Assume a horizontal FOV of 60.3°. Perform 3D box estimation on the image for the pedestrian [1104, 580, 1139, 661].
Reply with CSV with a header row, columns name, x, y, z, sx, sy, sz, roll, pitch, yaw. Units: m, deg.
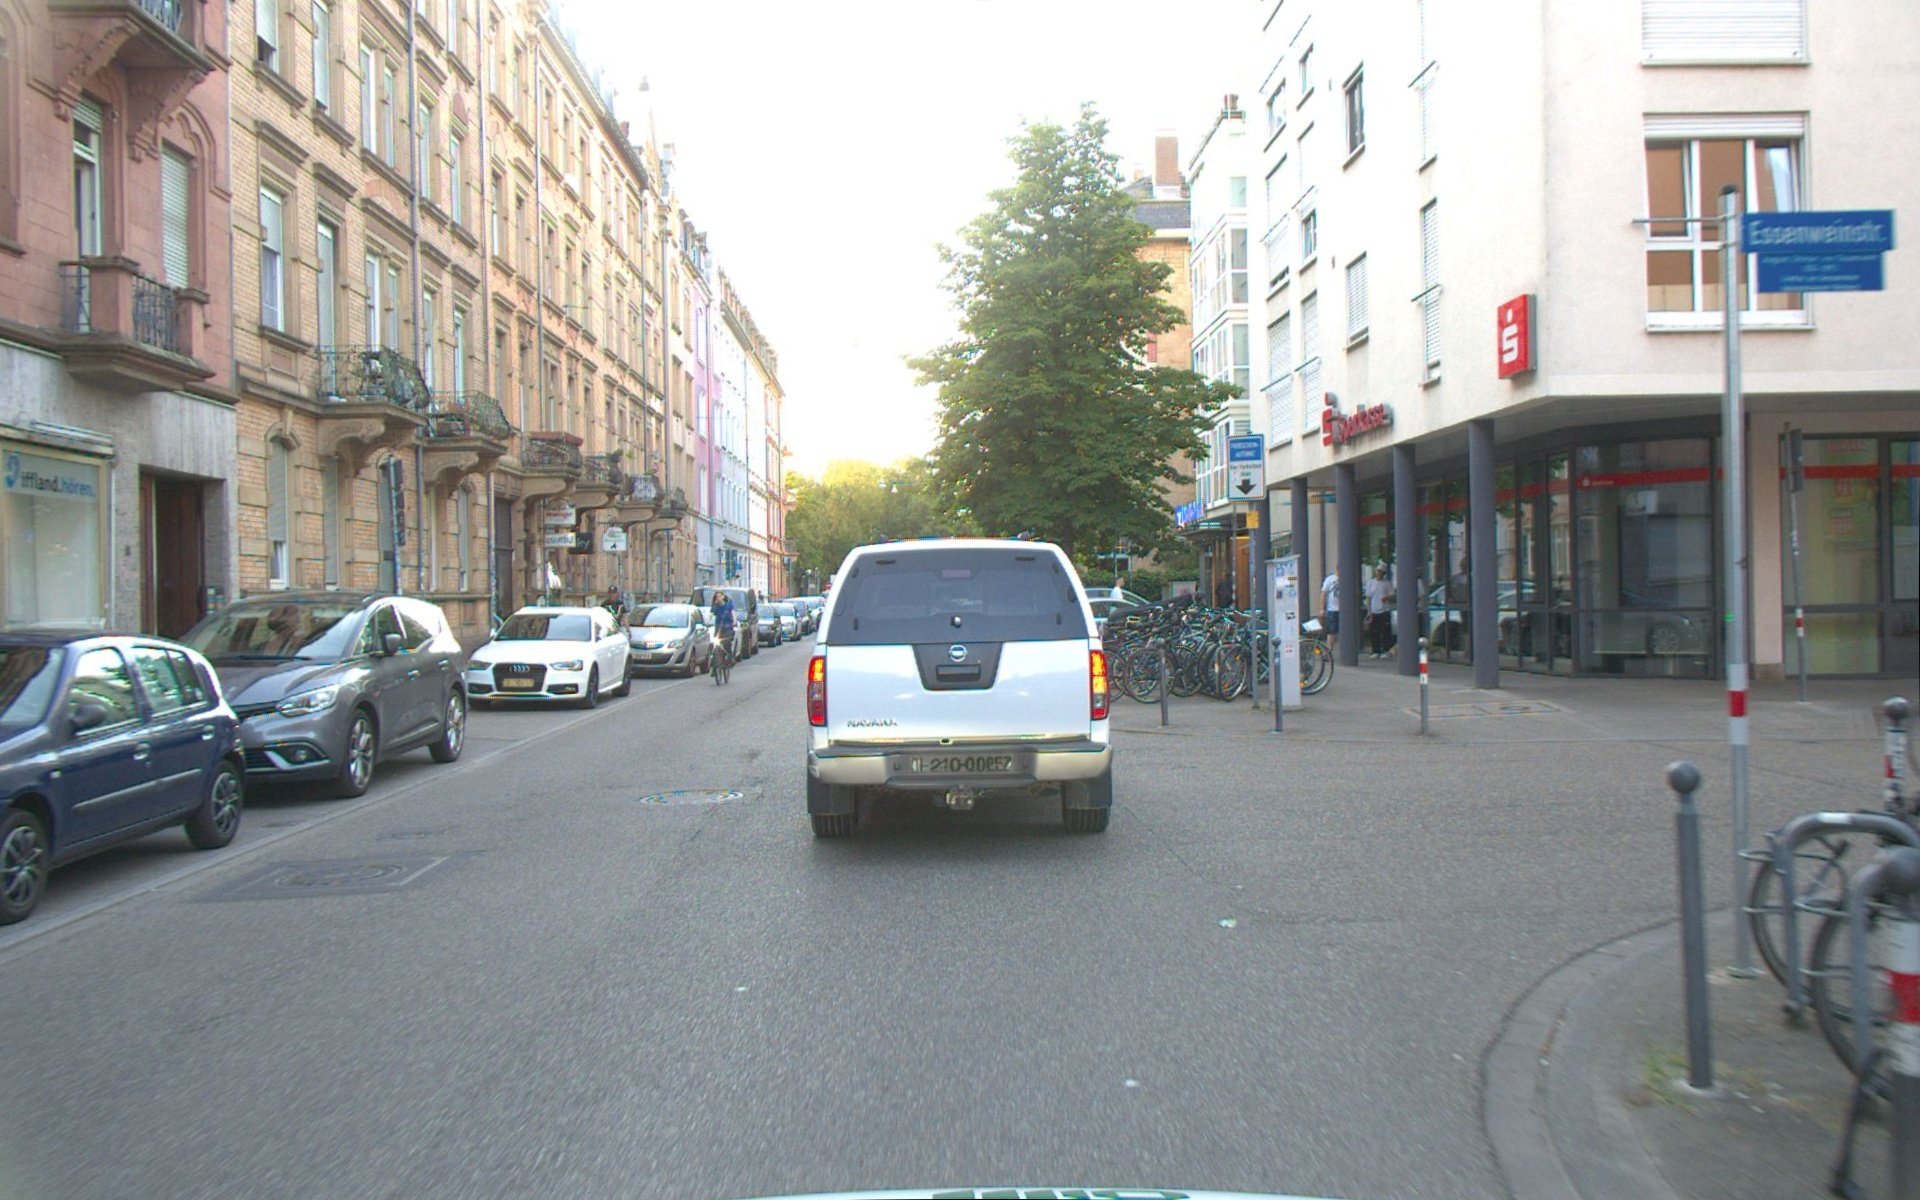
name,x,y,z,sx,sy,sz,roll,pitch,yaw
pedestrian,3.589,0.464,36.719,0.615,1.784,0.585,0,-2,-13

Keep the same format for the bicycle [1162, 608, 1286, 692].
name,x,y,z,sx,sy,sz,roll,pitch,yaw
bicycle,3.883,0.728,24.453,1.687,1.137,0.654,-3,-1,1

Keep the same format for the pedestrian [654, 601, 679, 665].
name,x,y,z,sx,sy,sz,roll,pitch,yaw
pedestrian,-8.424,0.936,47.439,0.593,1.803,0.776,2,0,-6

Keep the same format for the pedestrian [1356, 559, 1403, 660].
name,x,y,z,sx,sy,sz,roll,pitch,yaw
pedestrian,7.415,0.159,29.206,0.649,1.753,0.662,-2,1,25

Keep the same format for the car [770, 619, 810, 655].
name,x,y,z,sx,sy,sz,roll,pitch,yaw
car,-7.730,1.673,75.352,1.603,1.593,3.779,0,-1,-3

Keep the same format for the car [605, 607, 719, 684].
name,x,y,z,sx,sy,sz,roll,pitch,yaw
car,-6.168,0.907,34.606,1.682,1.483,3.999,1,0,-1

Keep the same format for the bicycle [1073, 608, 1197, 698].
name,x,y,z,sx,sy,sz,roll,pitch,yaw
bicycle,2.674,0.806,25.224,1.751,1.202,0.734,-5,-2,9

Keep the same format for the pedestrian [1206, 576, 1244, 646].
name,x,y,z,sx,sy,sz,roll,pitch,yaw
pedestrian,6.778,0.295,42.368,0.712,1.746,0.963,-3,-1,-2

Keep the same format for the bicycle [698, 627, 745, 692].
name,x,y,z,sx,sy,sz,roll,pitch,yaw
bicycle,-4.358,1.073,30.351,0.632,1.100,2.167,-2,0,-4

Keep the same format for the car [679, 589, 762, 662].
name,x,y,z,sx,sy,sz,roll,pitch,yaw
car,-6.813,0.717,47.457,1.954,1.957,4.946,1,-1,-4

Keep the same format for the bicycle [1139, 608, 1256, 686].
name,x,y,z,sx,sy,sz,roll,pitch,yaw
bicycle,3.766,0.741,26.253,1.689,1.137,0.653,-3,-1,-5

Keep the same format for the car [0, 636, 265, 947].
name,x,y,z,sx,sy,sz,roll,pitch,yaw
car,-5.447,0.961,9.311,1.553,1.445,3.695,0,0,-1

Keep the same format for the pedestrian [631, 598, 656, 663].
name,x,y,z,sx,sy,sz,roll,pitch,yaw
pedestrian,-9.028,0.864,47.210,0.569,1.803,0.996,2,0,-6

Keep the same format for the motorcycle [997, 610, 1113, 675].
name,x,y,z,sx,sy,sz,roll,pitch,yaw
motorcycle,1.781,0.797,31.087,2.025,1.097,0.660,-3,-1,-18

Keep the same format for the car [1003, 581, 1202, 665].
name,x,y,z,sx,sy,sz,roll,pitch,yaw
car,3.230,0.520,38.009,4.311,1.676,1.745,-3,-1,-3

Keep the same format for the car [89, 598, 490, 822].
name,x,y,z,sx,sy,sz,roll,pitch,yaw
car,-5.632,0.829,14.568,1.815,1.662,4.444,0,0,-2

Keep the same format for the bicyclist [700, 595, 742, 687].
name,x,y,z,sx,sy,sz,roll,pitch,yaw
bicyclist,-4.376,0.745,30.366,0.632,1.649,0.917,-2,-1,-4

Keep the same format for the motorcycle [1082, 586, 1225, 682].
name,x,y,z,sx,sy,sz,roll,pitch,yaw
motorcycle,3.518,0.623,30.250,2.440,1.576,0.824,-3,-2,1

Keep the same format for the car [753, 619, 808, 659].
name,x,y,z,sx,sy,sz,roll,pitch,yaw
car,-7.101,1.531,65.656,1.797,1.483,4.205,2,-1,-2

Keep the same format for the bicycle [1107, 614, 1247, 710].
name,x,y,z,sx,sy,sz,roll,pitch,yaw
bicycle,2.795,0.792,21.412,1.687,1.137,0.707,-3,-1,1

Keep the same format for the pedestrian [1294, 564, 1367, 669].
name,x,y,z,sx,sy,sz,roll,pitch,yaw
pedestrian,6.420,0.289,28.657,0.898,1.753,0.770,-2,1,45

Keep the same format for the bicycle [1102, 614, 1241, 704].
name,x,y,z,sx,sy,sz,roll,pitch,yaw
bicycle,2.938,0.820,23.074,1.773,1.137,0.706,-3,-1,-4

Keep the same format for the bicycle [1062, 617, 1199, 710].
name,x,y,z,sx,sy,sz,roll,pitch,yaw
bicycle,2.277,0.842,22.254,1.688,1.137,0.706,-3,-1,-4

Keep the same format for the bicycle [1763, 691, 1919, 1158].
name,x,y,z,sx,sy,sz,roll,pitch,yaw
bicycle,3.144,0.812,4.141,1.906,1.154,0.655,-4,-1,36

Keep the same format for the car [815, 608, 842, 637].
name,x,y,z,sx,sy,sz,roll,pitch,yaw
car,-9.405,1.600,117.747,1.776,2.012,4.181,1,-1,-6

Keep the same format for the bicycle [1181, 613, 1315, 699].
name,x,y,z,sx,sy,sz,roll,pitch,yaw
bicycle,3.940,0.762,22.726,1.687,1.072,0.654,-3,-1,1

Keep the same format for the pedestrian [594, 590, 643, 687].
name,x,y,z,sx,sy,sz,roll,pitch,yaw
pedestrian,-6.414,0.724,31.131,0.542,1.786,1.023,-1,-2,11

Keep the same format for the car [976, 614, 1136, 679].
name,x,y,z,sx,sy,sz,roll,pitch,yaw
car,2.463,1.195,43.142,3.909,1.481,1.826,-3,0,-4

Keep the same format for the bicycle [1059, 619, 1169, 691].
name,x,y,z,sx,sy,sz,roll,pitch,yaw
bicycle,2.543,0.906,27.438,1.684,1.049,0.667,-5,-2,1

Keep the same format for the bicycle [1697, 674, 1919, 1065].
name,x,y,z,sx,sy,sz,roll,pitch,yaw
bicycle,3.388,0.811,5.092,1.906,1.154,0.655,-4,-1,36

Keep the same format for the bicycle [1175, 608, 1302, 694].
name,x,y,z,sx,sy,sz,roll,pitch,yaw
bicycle,4.005,0.739,23.887,1.687,1.137,0.654,-3,-1,1

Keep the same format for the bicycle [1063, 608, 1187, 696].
name,x,y,z,sx,sy,sz,roll,pitch,yaw
bicycle,2.581,0.815,26.064,1.830,1.202,0.743,-5,-2,3

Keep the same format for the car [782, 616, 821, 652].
name,x,y,z,sx,sy,sz,roll,pitch,yaw
car,-7.807,1.650,81.579,1.808,1.688,4.248,-1,-1,-5

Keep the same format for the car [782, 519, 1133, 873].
name,x,y,z,sx,sy,sz,roll,pitch,yaw
car,0.051,0.504,11.483,1.871,1.885,5.271,0,0,1

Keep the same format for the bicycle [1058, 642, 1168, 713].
name,x,y,z,sx,sy,sz,roll,pitch,yaw
bicycle,2.582,1.313,28.046,1.736,1.040,0.565,-5,-2,1

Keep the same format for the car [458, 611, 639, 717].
name,x,y,z,sx,sy,sz,roll,pitch,yaw
car,-6.093,0.891,24.983,1.722,1.436,4.506,0,0,-2

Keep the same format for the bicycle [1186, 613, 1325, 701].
name,x,y,z,sx,sy,sz,roll,pitch,yaw
bicycle,3.925,0.752,22.054,1.687,1.072,0.654,-3,-1,1

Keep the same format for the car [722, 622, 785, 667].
name,x,y,z,sx,sy,sz,roll,pitch,yaw
car,-7.034,1.506,56.686,1.702,1.443,4.776,1,-1,-2

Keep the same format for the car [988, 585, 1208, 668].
name,x,y,z,sx,sy,sz,roll,pitch,yaw
car,2.901,0.557,35.231,4.340,1.480,1.776,-3,-1,-8

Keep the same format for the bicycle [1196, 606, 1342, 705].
name,x,y,z,sx,sy,sz,roll,pitch,yaw
bicycle,3.919,0.695,21.029,1.693,1.151,0.577,-3,-1,-14

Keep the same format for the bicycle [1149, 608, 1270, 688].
name,x,y,z,sx,sy,sz,roll,pitch,yaw
bicycle,3.840,0.740,25.534,1.689,1.137,0.653,-3,-1,-5

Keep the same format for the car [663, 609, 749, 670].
name,x,y,z,sx,sy,sz,roll,pitch,yaw
car,-6.417,0.977,42.171,1.748,1.448,4.482,1,-1,-4
